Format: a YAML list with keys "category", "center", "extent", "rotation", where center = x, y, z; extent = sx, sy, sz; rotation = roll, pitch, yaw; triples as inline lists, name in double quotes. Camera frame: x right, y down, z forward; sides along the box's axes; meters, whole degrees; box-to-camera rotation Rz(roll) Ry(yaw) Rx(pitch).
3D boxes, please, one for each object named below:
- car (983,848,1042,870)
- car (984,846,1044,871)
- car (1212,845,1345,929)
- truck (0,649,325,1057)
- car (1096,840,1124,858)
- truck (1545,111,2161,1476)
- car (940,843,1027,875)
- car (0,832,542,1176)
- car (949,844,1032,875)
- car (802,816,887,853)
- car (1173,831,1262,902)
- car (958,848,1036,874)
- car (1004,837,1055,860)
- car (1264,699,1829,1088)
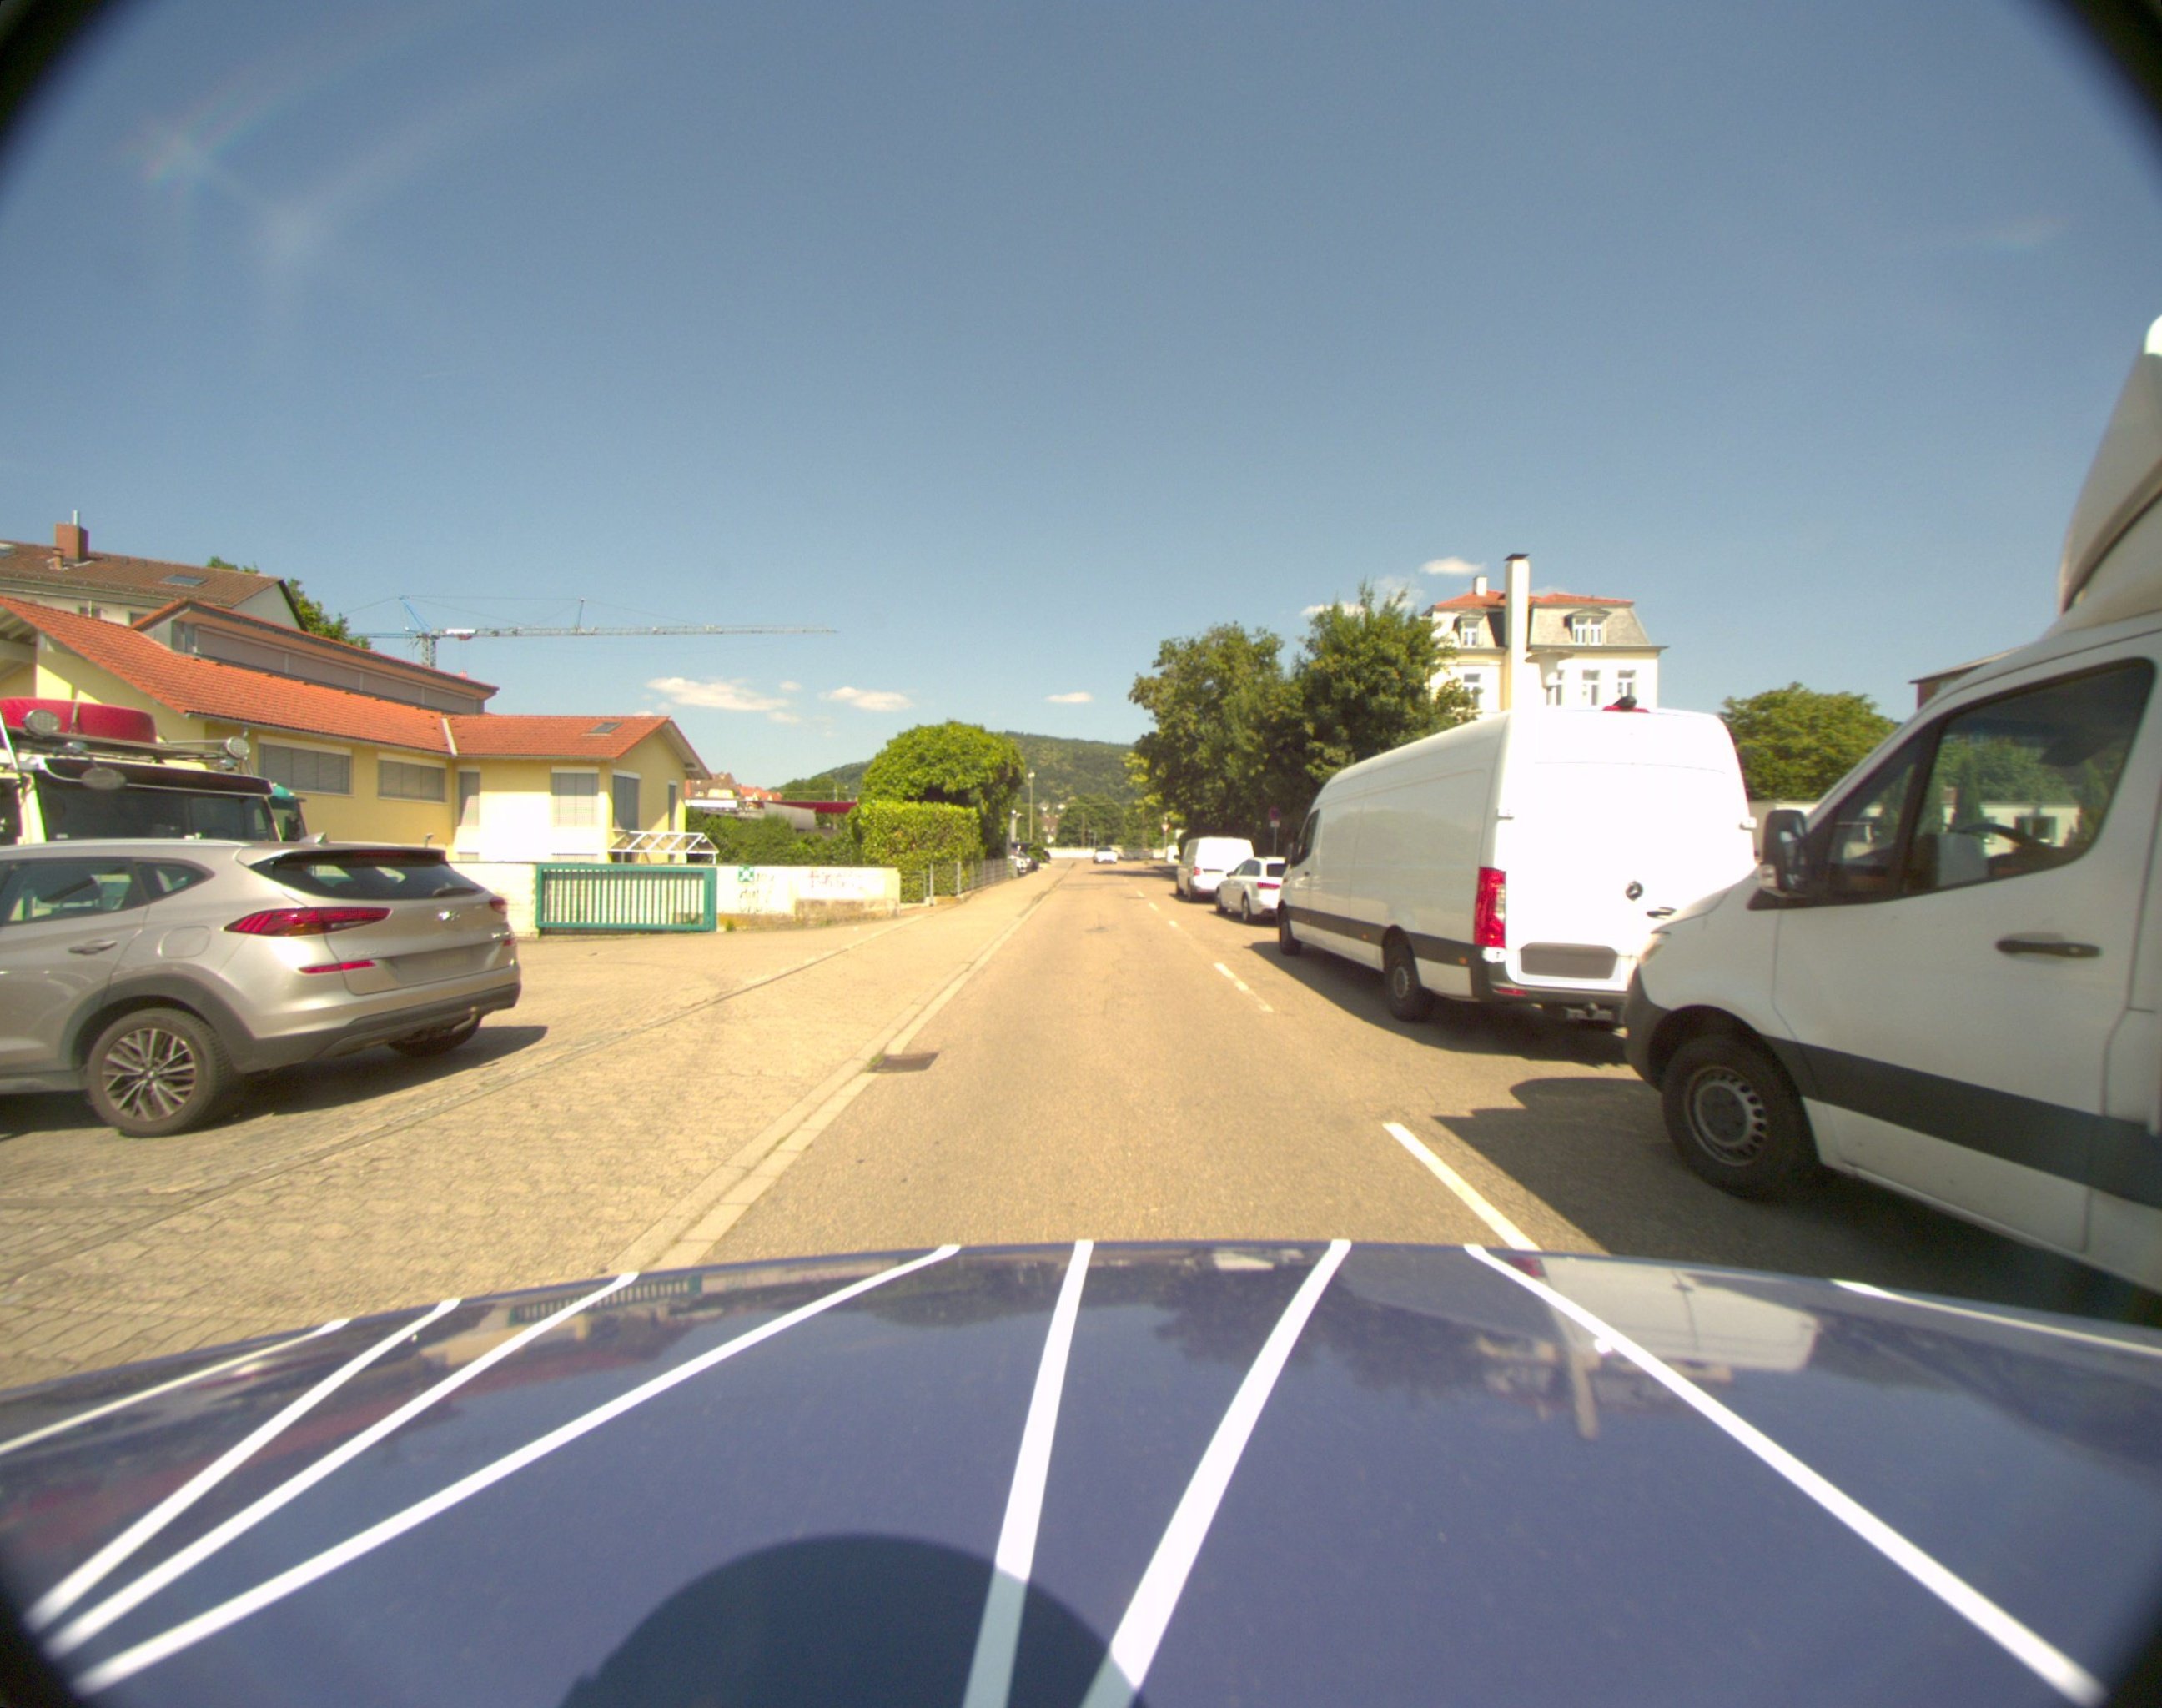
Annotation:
- category: "car"
  center: [-4.296, 0.277, 47.804]
  extent: [3.558, 1.327, 1.558]
  rotation: [0, 1, 0]
- category: "car"
  center: [-4.428, 0.264, 50.744]
  extent: [3.812, 1.615, 1.759]
  rotation: [-1, 1, 0]
- category: "car"
  center: [4.259, 0.629, 17.119]
  extent: [1.718, 1.535, 4.399]
  rotation: [2, 2, -1]
- category: "truck"
  center: [-12.691, 0.154, 7.623]
  extent: [7.536, 3.404, 2.526]
  rotation: [-3, 1, 1]
- category: "car"
  center: [2.581, -0.503, 68.835]
  extent: [1.897, 1.412, 4.166]
  rotation: [2, 2, -6]
- category: "truck"
  center: [3.971, -0.115, 0.740]
  extent: [2.692, 3.347, 7.128]
  rotation: [1, 2, 1]
- category: "car"
  center: [-5.088, 0.259, 40.127]
  extent: [4.414, 1.644, 1.843]
  rotation: [0, 2, -1]
- category: "car"
  center: [-6.198, 0.847, 4.784]
  extent: [4.211, 1.673, 1.766]
  rotation: [-4, 2, 1]
- category: "car"
  center: [-5.047, 0.270, 42.615]
  extent: [4.414, 1.519, 1.896]
  rotation: [2, 2, -1]
- category: "car"
  center: [-18.054, -1.487, 58.015]
  extent: [6.025, 2.664, 2.254]
  rotation: [0, 2, -22]
- category: "car"
  center: [4.261, 0.288, 24.531]
  extent: [1.976, 2.002, 5.055]
  rotation: [2, 2, 1]
- category: "car"
  center: [-4.934, 0.381, 45.243]
  extent: [4.414, 1.489, 1.896]
  rotation: [0, 2, 0]
- category: "car"
  center: [-4.209, -0.473, 62.807]
  extent: [1.847, 1.772, 4.299]
  rotation: [2, 3, 37]
- category: "car"
  center: [3.961, 0.182, 8.609]
  extent: [2.173, 2.581, 6.918]
  rotation: [2, 2, 1]
